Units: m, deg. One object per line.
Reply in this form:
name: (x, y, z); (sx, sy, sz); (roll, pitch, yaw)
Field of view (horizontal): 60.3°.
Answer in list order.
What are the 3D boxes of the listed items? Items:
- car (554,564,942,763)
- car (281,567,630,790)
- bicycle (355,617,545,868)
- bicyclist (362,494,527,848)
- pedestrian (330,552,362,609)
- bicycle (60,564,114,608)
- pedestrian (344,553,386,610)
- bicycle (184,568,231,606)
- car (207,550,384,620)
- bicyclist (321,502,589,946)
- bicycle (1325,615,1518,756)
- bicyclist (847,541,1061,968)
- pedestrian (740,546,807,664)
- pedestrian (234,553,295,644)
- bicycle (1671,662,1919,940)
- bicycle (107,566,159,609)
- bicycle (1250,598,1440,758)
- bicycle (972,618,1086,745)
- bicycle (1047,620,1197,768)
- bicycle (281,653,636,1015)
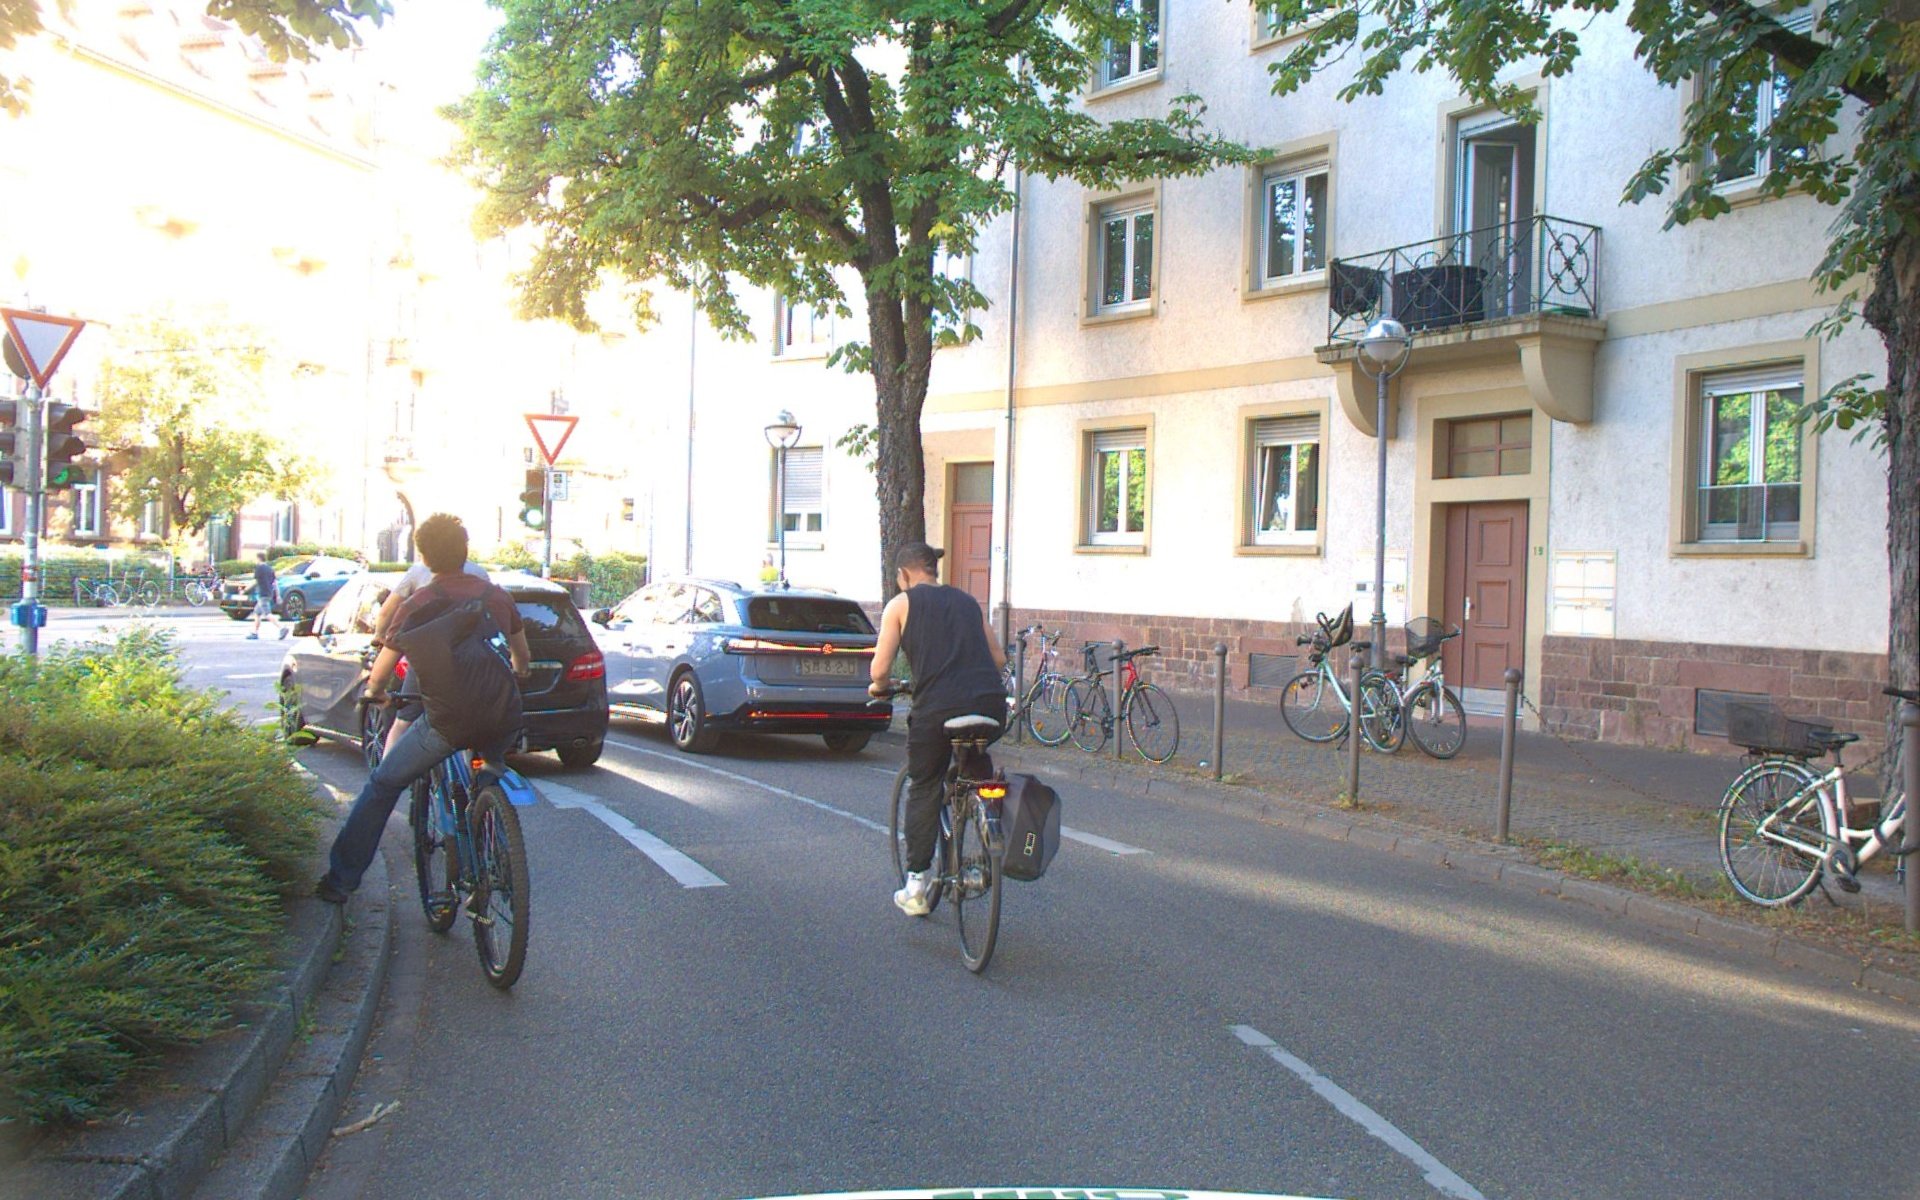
car: (-2.212, 0.537, 16.080); (1.952, 1.613, 4.424); (4, -1, -33)
car: (-4.321, 0.513, 13.796); (1.774, 1.569, 3.814); (-1, 1, -34)
bicycle: (-2.991, 0.741, 9.544); (0.799, 1.205, 2.211); (2, 1, -23)
bicyclist: (-3.027, 0.392, 9.673); (0.783, 1.946, 0.938); (2, 0, -23)
pedestrian: (-19.073, -0.597, 51.378); (0.649, 1.745, 0.635); (2, 0, 29)
bicycle: (-22.909, -0.365, 43.417); (0.433, 1.126, 1.233); (3, 1, 22)
pedestrian: (-18.283, -0.570, 50.824); (0.698, 1.693, 0.895); (5, 2, 33)
bicycle: (-21.451, -0.373, 47.176); (0.433, 1.056, 1.233); (3, 1, 21)
car: (-17.155, -0.387, 42.932); (1.901, 1.678, 4.413); (2, 0, 17)
bicyclist: (-2.015, 0.441, 6.551); (0.701, 1.601, 0.945); (2, 0, -37)
bicycle: (4.123, 0.737, 14.948); (0.657, 1.126, 1.956); (2, 0, -19)
bicyclist: (-0.051, 0.604, 7.087); (0.675, 1.685, 0.985); (0, 1, -15)
pedestrian: (-2.858, 0.061, 25.309); (0.639, 1.757, 0.876); (-2, 2, -39)
pedestrian: (-13.280, -0.032, 31.586); (0.887, 1.663, 0.723); (4, 1, -15)
bicycle: (4.212, 0.898, 7.637); (0.505, 1.114, 1.962); (0, 1, -20)
bicycle: (-22.354, -0.324, 44.729); (0.433, 1.126, 1.233); (3, 1, 22)
bicycle: (3.426, 0.654, 14.921); (0.707, 1.299, 1.955); (0, 1, -21)
bicycle: (0.645, 0.757, 15.994); (0.474, 1.082, 1.625); (-1, 2, -22)
bicycle: (1.382, 0.781, 14.413); (0.519, 1.126, 1.728); (-1, 2, -24)
bicycle: (-2.065, 0.826, 6.614); (0.712, 1.126, 1.941); (2, 0, -37)
